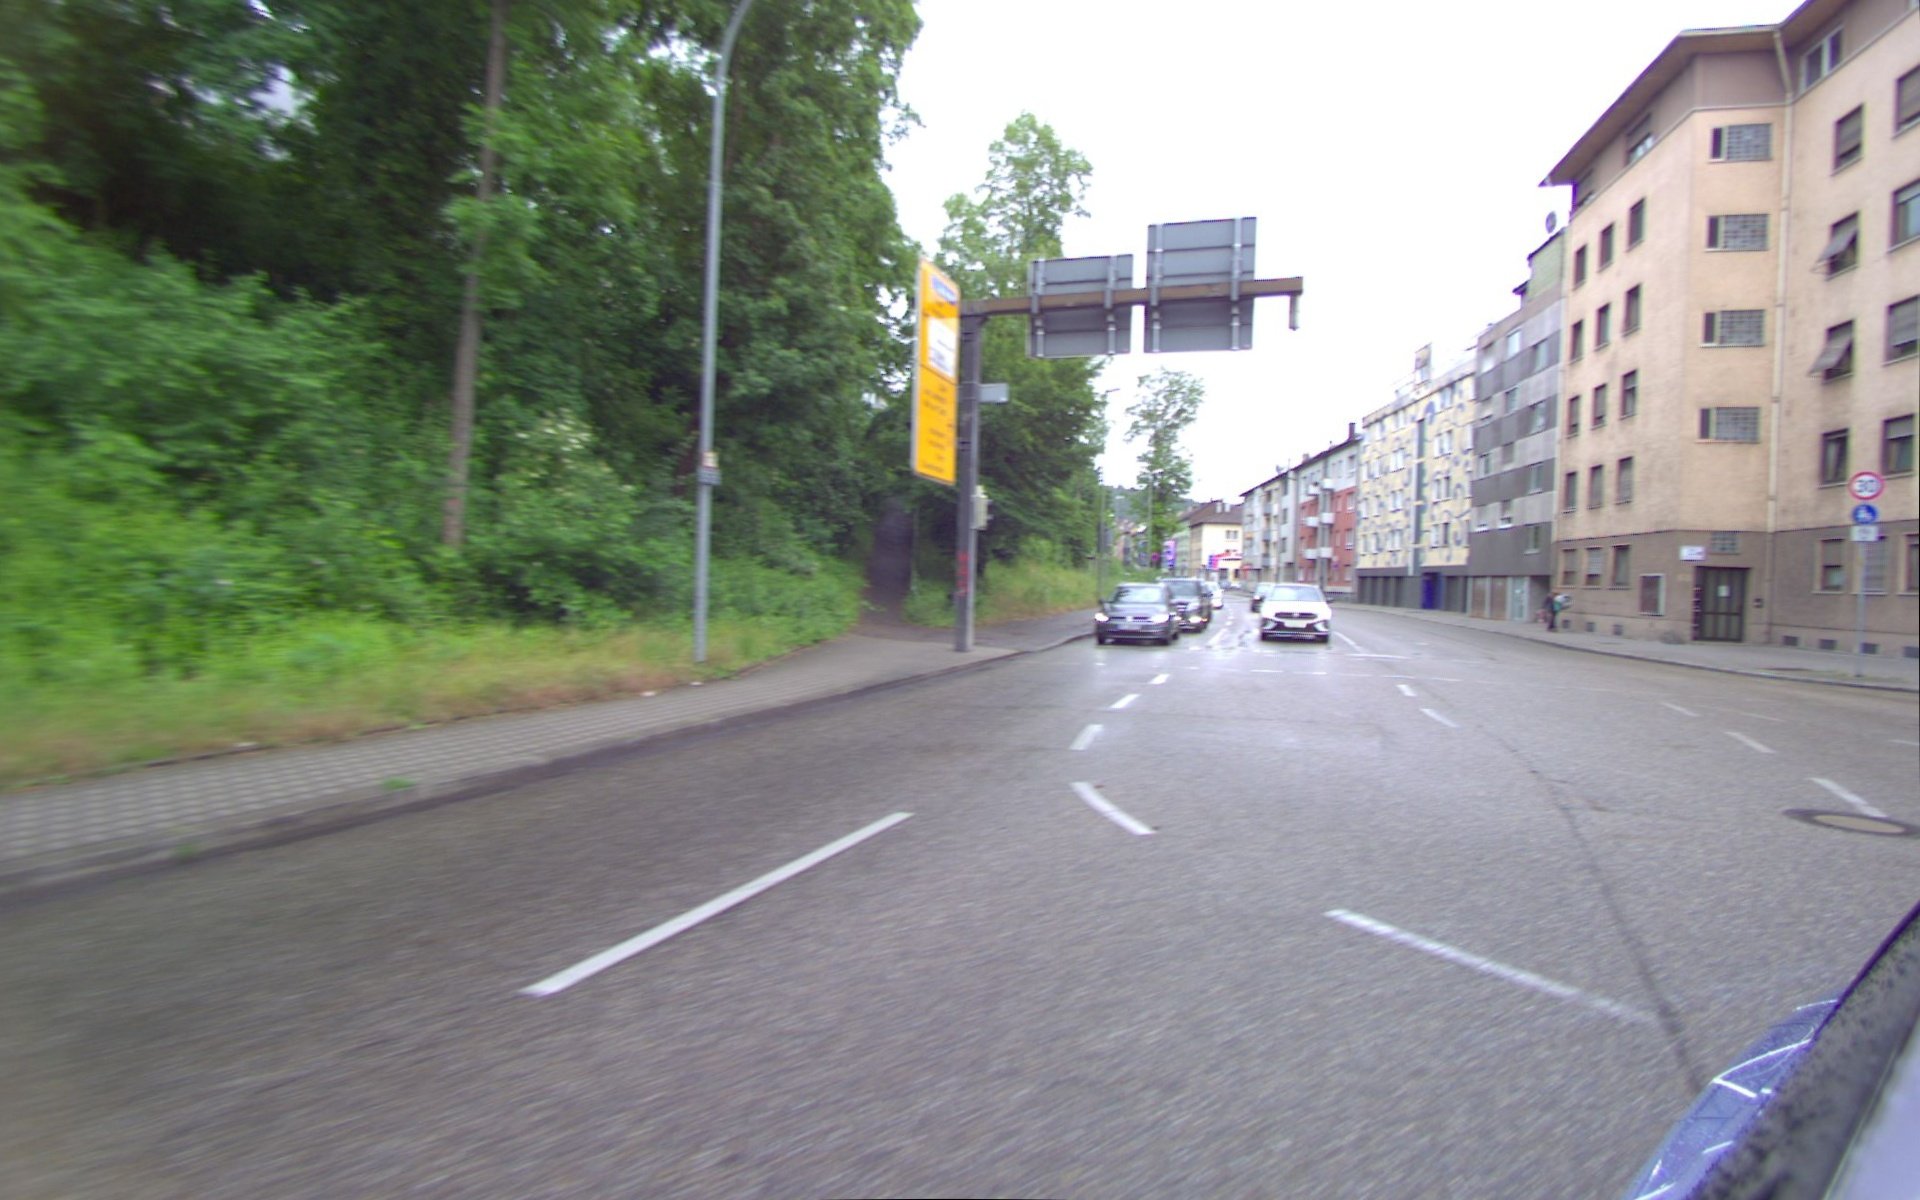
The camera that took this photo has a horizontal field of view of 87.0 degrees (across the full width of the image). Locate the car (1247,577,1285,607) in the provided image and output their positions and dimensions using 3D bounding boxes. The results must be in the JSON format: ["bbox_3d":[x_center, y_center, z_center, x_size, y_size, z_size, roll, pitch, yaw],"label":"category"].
[{"bbox_3d":[15.437,-0.433,51.162,1.688,1.411,3.981,1,1,15],"label":"car"}]

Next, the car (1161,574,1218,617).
[{"bbox_3d":[8.797,-0.222,38.665,1.971,1.496,4.600,2,2,14],"label":"car"}]

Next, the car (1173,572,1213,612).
[{"bbox_3d":[10.557,-0.374,45.752,1.657,1.676,3.983,2,1,14],"label":"car"}]

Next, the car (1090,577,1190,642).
[{"bbox_3d":[4.496,0.168,24.806,1.797,1.426,4.207,1,1,19],"label":"car"}]

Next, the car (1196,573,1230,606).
[{"bbox_3d":[13.690,-0.581,54.868,1.657,1.676,3.983,2,1,14],"label":"car"}]

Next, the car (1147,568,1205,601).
[{"bbox_3d":[14.118,-1.035,66.469,1.958,2.039,4.497,1,1,-14],"label":"car"}]

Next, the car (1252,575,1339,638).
[{"bbox_3d":[8.934,0.107,27.272,1.852,1.496,4.535,2,2,14],"label":"car"}]

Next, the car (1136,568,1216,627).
[{"bbox_3d":[6.726,-0.122,31.208,1.973,1.637,4.594,1,1,18],"label":"car"}]

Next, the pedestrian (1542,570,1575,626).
[{"bbox_3d":[22.293,-0.079,37.719,0.798,2.039,0.855,1,0,13],"label":"pedestrian"}]
